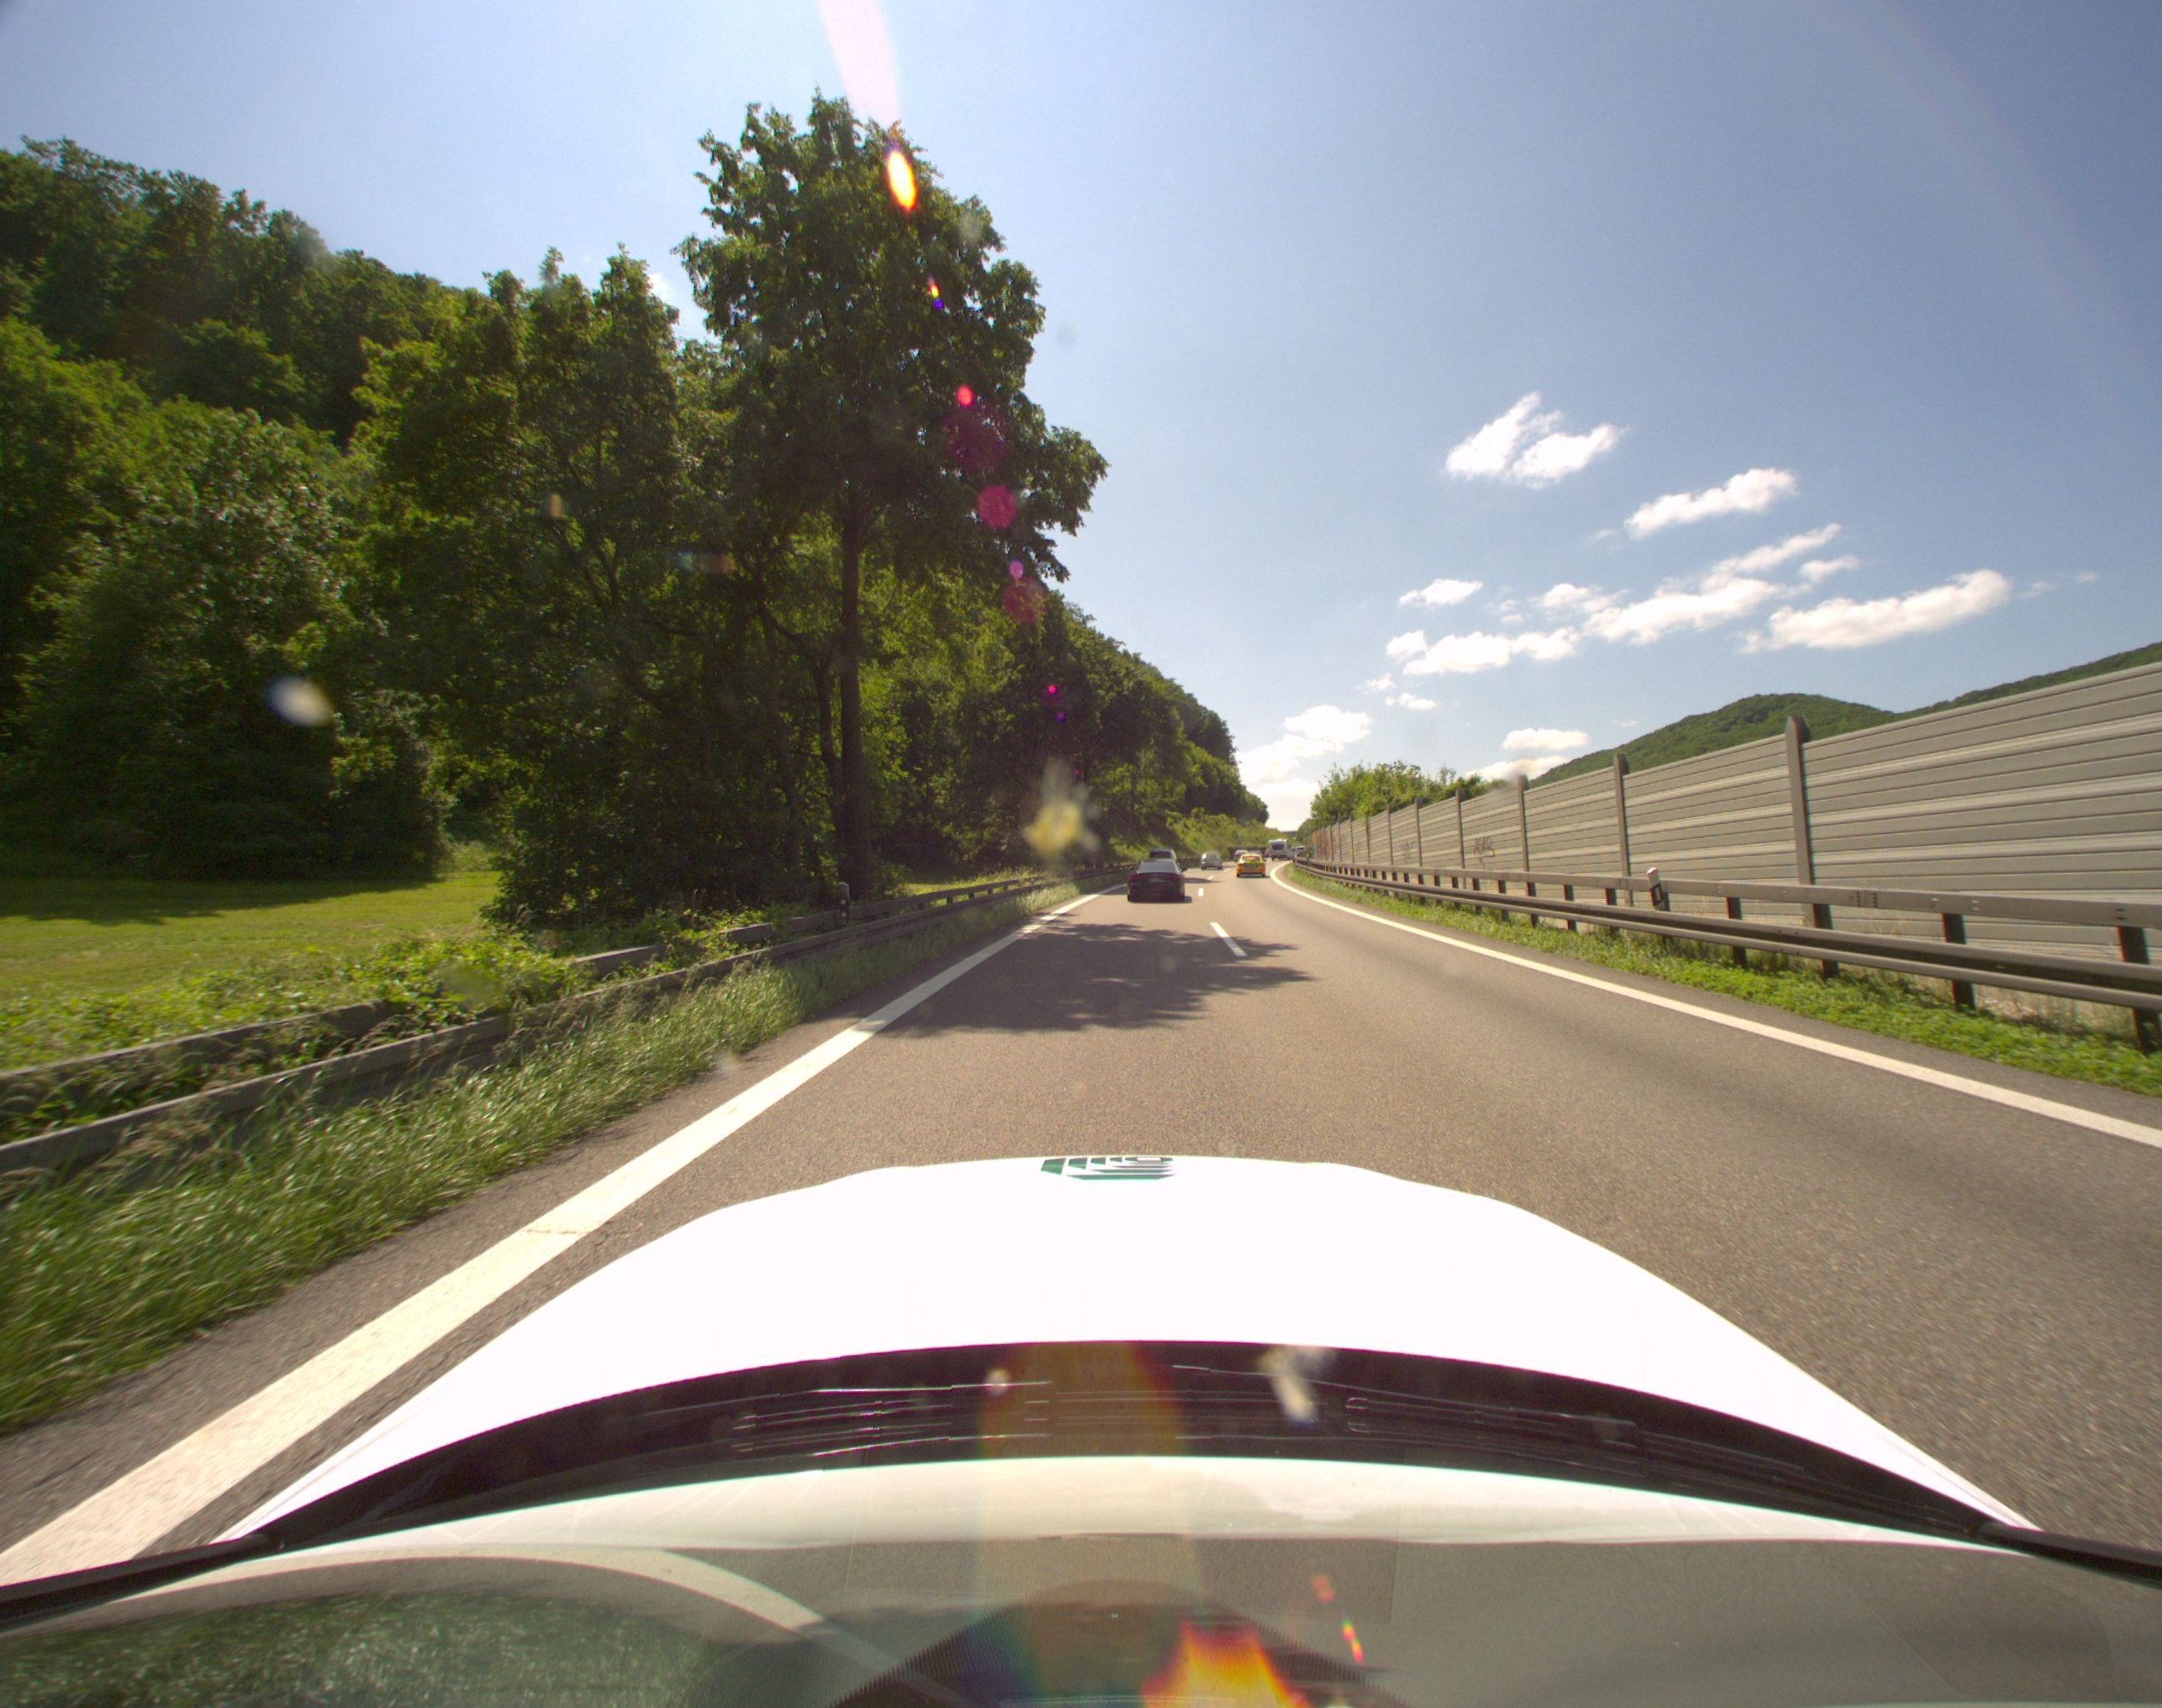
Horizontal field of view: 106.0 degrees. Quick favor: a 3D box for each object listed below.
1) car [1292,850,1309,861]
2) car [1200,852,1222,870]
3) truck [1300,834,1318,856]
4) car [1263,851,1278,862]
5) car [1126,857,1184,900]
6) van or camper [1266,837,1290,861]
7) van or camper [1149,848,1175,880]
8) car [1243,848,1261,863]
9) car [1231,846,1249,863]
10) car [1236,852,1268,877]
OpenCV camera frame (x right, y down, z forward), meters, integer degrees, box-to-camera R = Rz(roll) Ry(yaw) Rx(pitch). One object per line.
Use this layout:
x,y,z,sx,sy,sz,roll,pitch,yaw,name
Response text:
35.628,0.283,132.035,1.975,1.717,4.023,-2,0,24,car
11.274,0.601,70.708,1.737,1.431,4.009,-1,-1,8,car
44.662,-1.822,159.281,2.710,4.096,7.517,-2,0,20,truck
30.517,0.404,131.323,1.826,1.717,4.020,-2,-1,20,car
2.459,0.817,27.690,1.830,1.349,4.003,0,-1,4,car
25.386,-0.542,104.703,2.435,2.918,6.155,-2,-1,19,van or camper
4.766,0.592,48.276,1.386,1.816,4.003,-1,-1,3,van or camper
18.781,0.148,89.575,1.762,1.637,4.011,-2,0,10,car
19.799,0.016,101.247,1.979,2.013,4.016,-2,0,14,car
10.851,0.643,51.630,1.850,1.488,4.014,-2,-1,13,car
